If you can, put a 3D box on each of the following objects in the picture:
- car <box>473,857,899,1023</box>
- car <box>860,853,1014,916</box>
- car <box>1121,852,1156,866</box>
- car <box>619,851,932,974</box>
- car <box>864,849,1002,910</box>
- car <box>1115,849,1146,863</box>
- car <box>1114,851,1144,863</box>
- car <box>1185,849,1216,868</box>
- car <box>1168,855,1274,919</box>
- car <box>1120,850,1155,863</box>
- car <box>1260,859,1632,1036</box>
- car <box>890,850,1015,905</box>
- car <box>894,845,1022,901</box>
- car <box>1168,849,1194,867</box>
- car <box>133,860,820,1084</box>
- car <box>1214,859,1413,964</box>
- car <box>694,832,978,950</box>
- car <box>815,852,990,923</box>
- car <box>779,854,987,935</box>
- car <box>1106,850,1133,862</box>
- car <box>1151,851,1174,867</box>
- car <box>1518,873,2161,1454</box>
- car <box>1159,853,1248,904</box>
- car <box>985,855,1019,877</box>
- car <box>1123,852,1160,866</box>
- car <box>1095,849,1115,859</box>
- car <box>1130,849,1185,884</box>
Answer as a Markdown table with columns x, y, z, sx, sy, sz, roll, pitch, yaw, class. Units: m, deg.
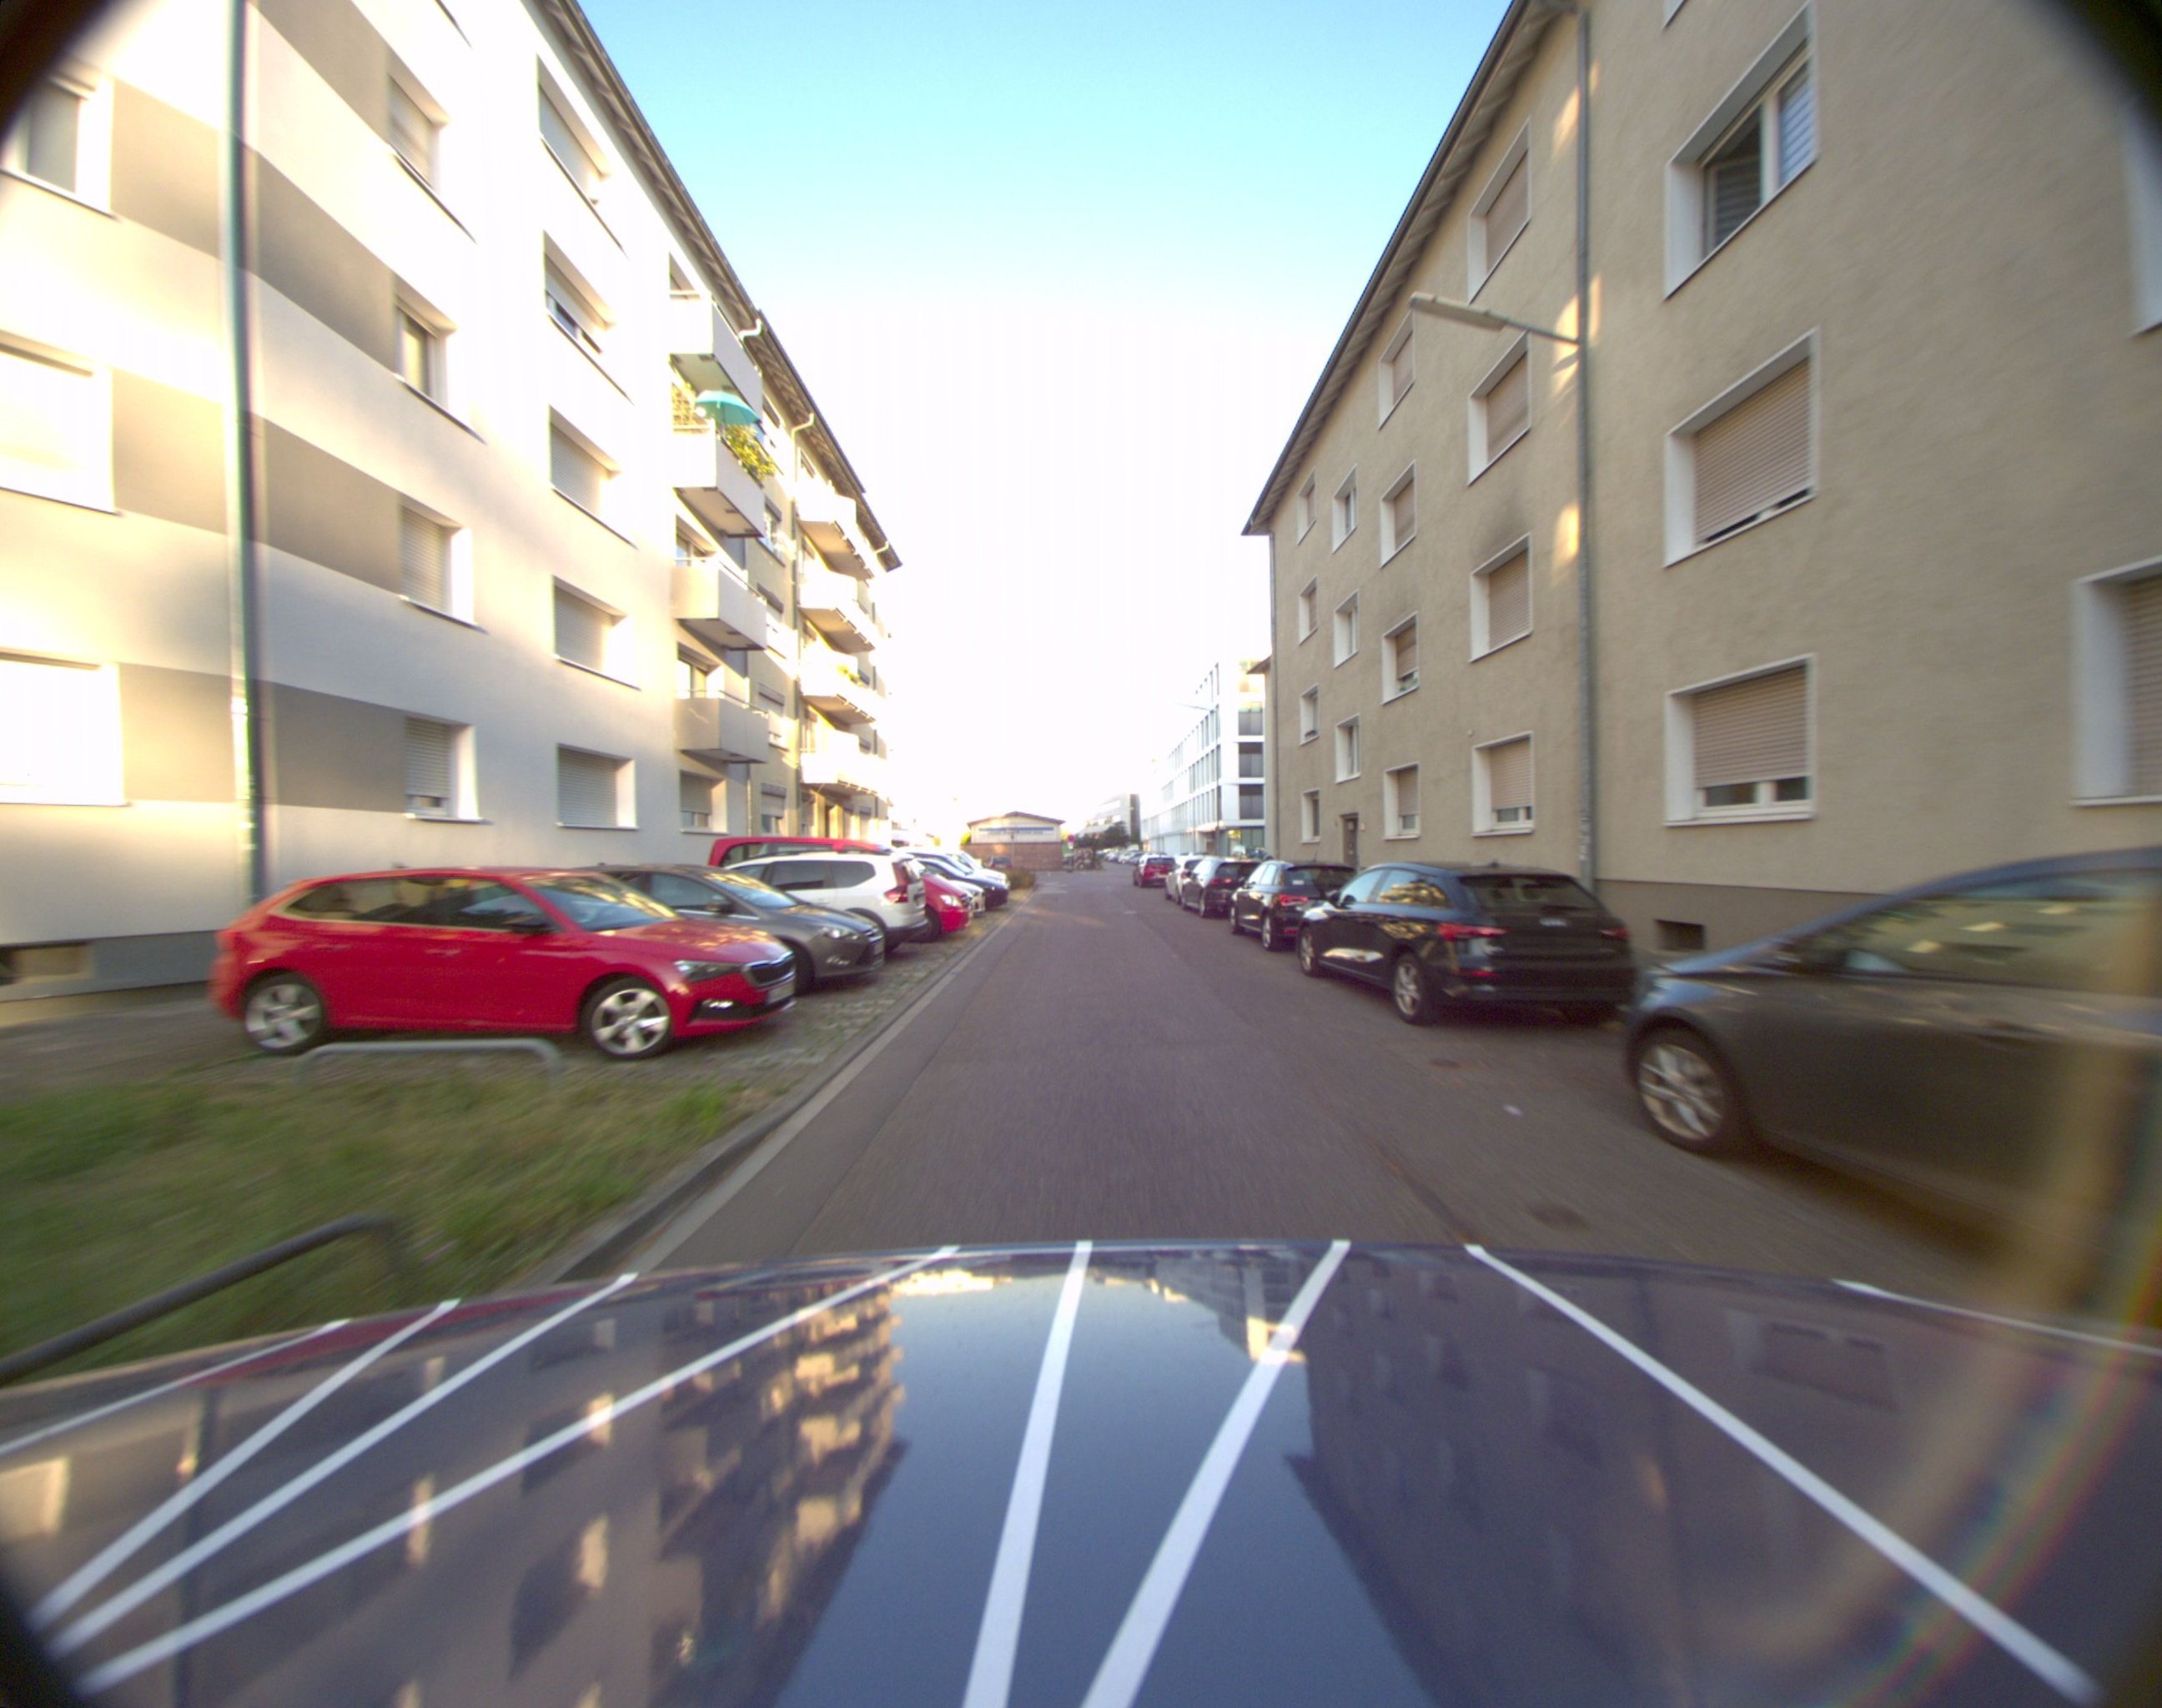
| x | y | z | sx | sy | sz | roll | pitch | yaw | class |
| --- | --- | --- | --- | --- | --- | --- | --- | --- | --- |
| -4.412 | 0.911 | 9.074 | 3.998 | 1.652 | 1.999 | -1 | 0 | -2 | car |
| -4.112 | 0.861 | 22.192 | 3.996 | 1.674 | 2.000 | -1 | 0 | 3 | car |
| 6.595 | 0.557 | 87.277 | 3.996 | 1.477 | 2.000 | -1 | 0 | 2 | car |
| -4.423 | 0.811 | 11.512 | 3.998 | 1.619 | 1.784 | -1 | 0 | -3 | car |
| -4.696 | 0.789 | 24.587 | 3.997 | 1.827 | 2.000 | -1 | 0 | 0 | car |
| 6.430 | 0.280 | 99.815 | 3.996 | 1.805 | 2.000 | -1 | 0 | 2 | car |
| 6.432 | 0.368 | 102.068 | 3.996 | 1.477 | 2.000 | -1 | 0 | 2 | car |
| 9.637 | 0.337 | 61.680 | 1.998 | 1.477 | 4.000 | -1 | 0 | 2 | car |
| 3.517 | 0.775 | 19.935 | 1.792 | 1.436 | 4.431 | -2 | 0 | -2 | car |
| 6.649 | 0.274 | 89.893 | 3.996 | 1.477 | 2.000 | -1 | 0 | 2 | car |
| 3.641 | 0.807 | 8.693 | 1.999 | 1.436 | 4.431 | -2 | 0 | -2 | car |
| -4.427 | 0.782 | 26.677 | 3.997 | 1.783 | 2.000 | -1 | 0 | 0 | car |
| -4.606 | 0.696 | 28.941 | 4.427 | 1.957 | 2.000 | -1 | 0 | 2 | car |
| 8.865 | 0.341 | 67.637 | 1.998 | 1.477 | 4.000 | -1 | 0 | 2 | car |
| -4.747 | 0.874 | 6.502 | 4.311 | 1.532 | 1.923 | -1 | 0 | 1 | car |
| 3.720 | 0.836 | 13.110 | 1.999 | 1.436 | 4.431 | -2 | 0 | -1 | car |
| -4.467 | 0.658 | 14.418 | 4.685 | 1.988 | 2.000 | -1 | 0 | 0 | car |
| -4.492 | 0.826 | 19.617 | 3.997 | 1.674 | 2.000 | -1 | 0 | 1 | car |
| -4.327 | 0.864 | 17.015 | 3.995 | 1.630 | 2.001 | -1 | 0 | 6 | car |
| 5.828 | 0.267 | 115.945 | 3.997 | 1.740 | 2.000 | -1 | 0 | 0 | car |
| 8.245 | 0.519 | 77.262 | 1.998 | 1.510 | 4.000 | -1 | 0 | 2 | car |
| 3.832 | 0.886 | 2.980 | 1.795 | 1.525 | 4.067 | 0 | 0 | -2 | car |
| 3.824 | 0.722 | 24.504 | 1.999 | 1.436 | 4.431 | -2 | 0 | -2 | car |
| -5.833 | 0.863 | 55.761 | 2.000 | 1.481 | 4.427 | -2 | 0 | -12 | car |
| 6.729 | 0.566 | 84.991 | 3.996 | 1.477 | 2.000 | -1 | 0 | 2 | car |
| 5.179 | -0.059 | 164.383 | 3.997 | 2.002 | 2.000 | -1 | 0 | -1 | car |
| 3.549 | 0.549 | 35.942 | 1.999 | 1.481 | 4.431 | -2 | 0 | -2 | car |
